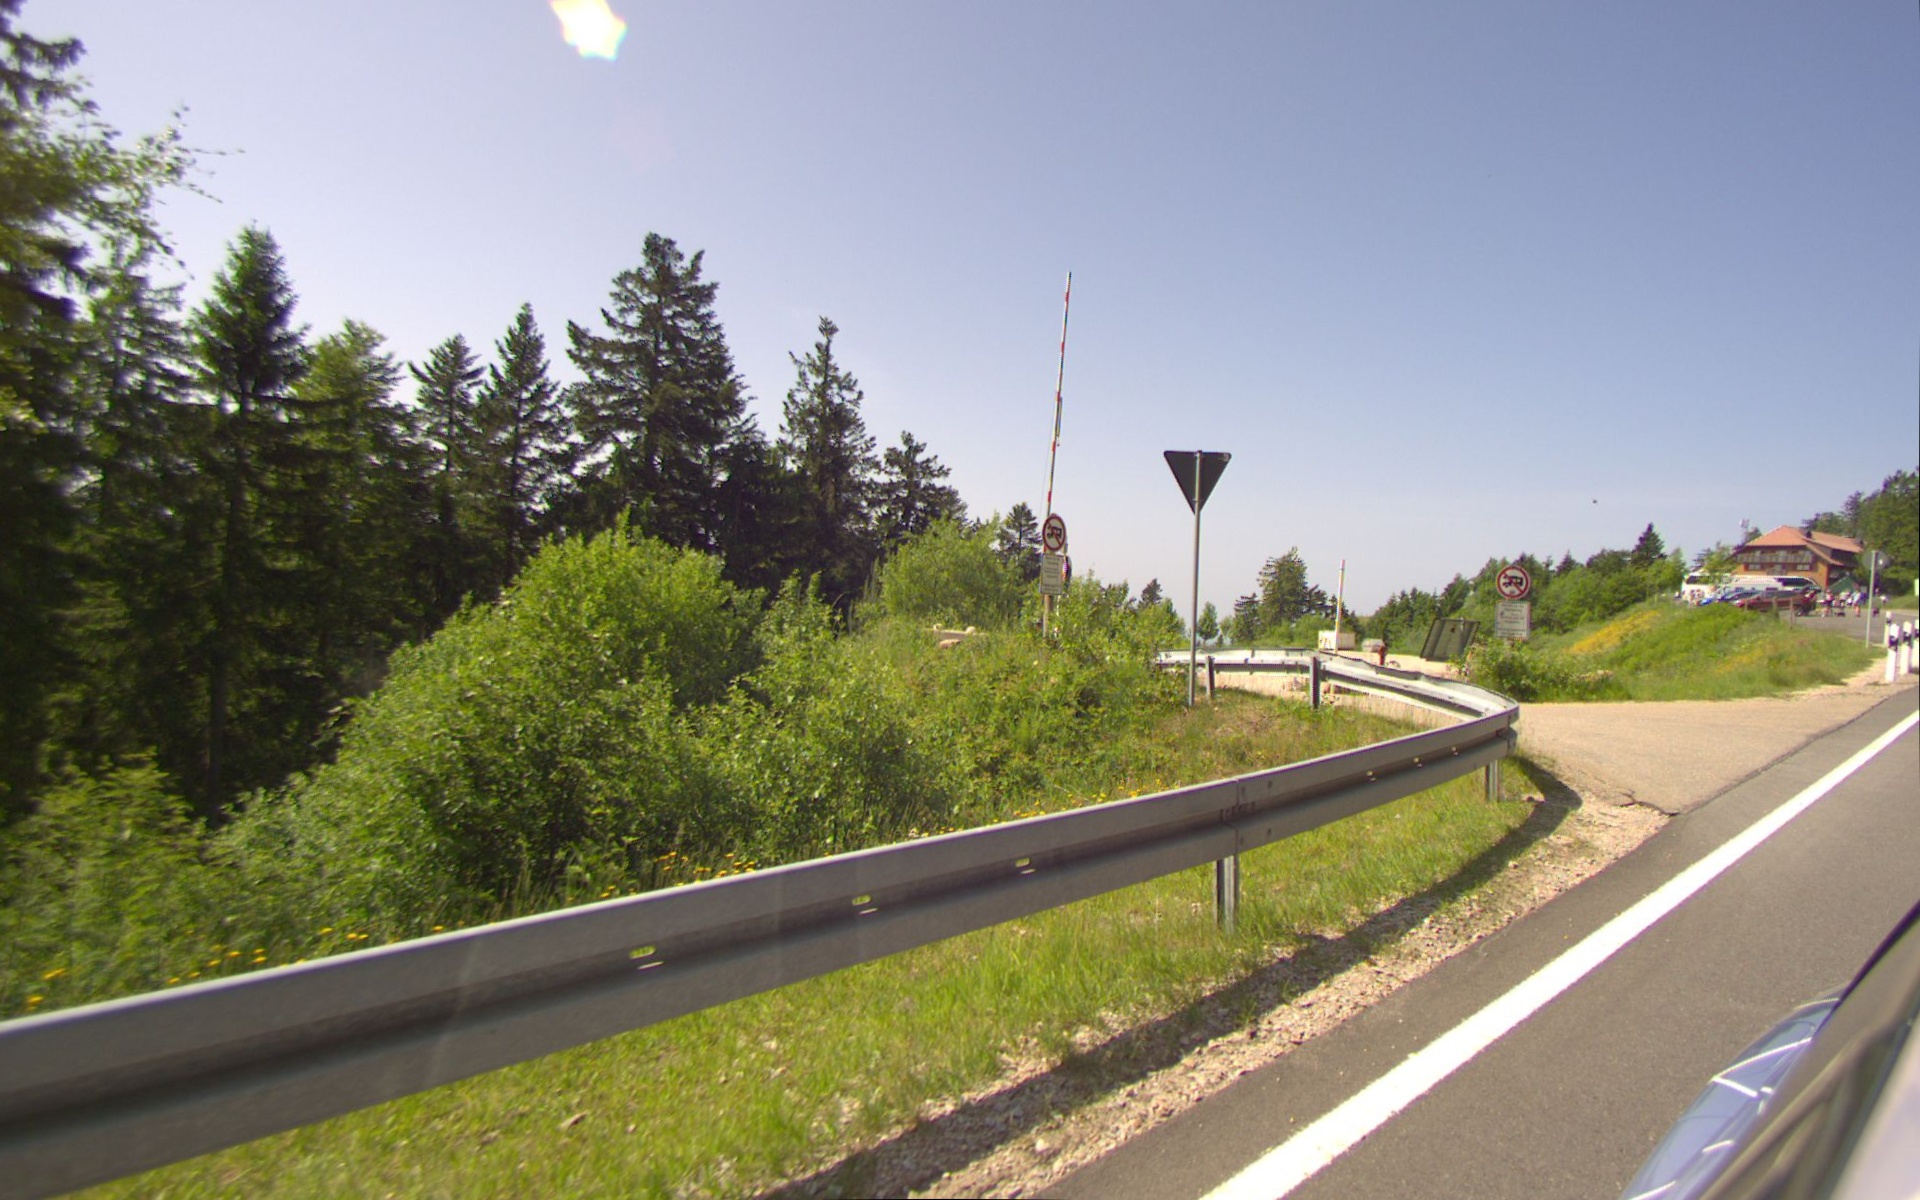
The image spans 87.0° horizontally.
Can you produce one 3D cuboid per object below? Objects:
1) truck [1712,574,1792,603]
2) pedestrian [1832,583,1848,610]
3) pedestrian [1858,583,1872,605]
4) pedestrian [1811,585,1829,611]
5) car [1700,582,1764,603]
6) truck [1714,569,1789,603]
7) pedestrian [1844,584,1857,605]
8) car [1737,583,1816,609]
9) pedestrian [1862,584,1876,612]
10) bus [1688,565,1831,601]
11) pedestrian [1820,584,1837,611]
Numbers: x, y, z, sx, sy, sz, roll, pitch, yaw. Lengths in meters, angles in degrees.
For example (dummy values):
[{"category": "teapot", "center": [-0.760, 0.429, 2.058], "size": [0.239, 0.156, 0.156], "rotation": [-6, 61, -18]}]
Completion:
[{"category": "truck", "center": [80.685, -1.201, 103.280], "size": [6.246, 2.623, 2.309], "rotation": [3, 1, 37]}, {"category": "pedestrian", "center": [56.841, -0.214, 65.387], "size": [0.716, 1.713, 0.609], "rotation": [2, 1, 44]}, {"category": "pedestrian", "center": [76.019, -0.530, 85.025], "size": [0.761, 1.782, 0.755], "rotation": [1, 1, -40]}, {"category": "pedestrian", "center": [55.943, -0.142, 65.837], "size": [0.721, 1.607, 0.619], "rotation": [3, 1, -34]}, {"category": "car", "center": [62.525, -0.611, 82.046], "size": [3.971, 1.668, 1.581], "rotation": [0, 0, 34]}, {"category": "truck", "center": [82.783, -1.481, 105.982], "size": [6.049, 3.235, 2.499], "rotation": [3, 2, 37]}, {"category": "pedestrian", "center": [75.451, -0.443, 85.762], "size": [0.878, 1.762, 0.666], "rotation": [1, 1, -40]}, {"category": "car", "center": [53.302, -0.279, 66.161], "size": [3.800, 1.681, 1.634], "rotation": [0, 0, 33]}, {"category": "pedestrian", "center": [57.773, -0.137, 64.299], "size": [0.617, 1.797, 0.712], "rotation": [2, 1, 44]}, {"category": "bus", "center": [92.460, -2.005, 117.472], "size": [12.820, 3.621, 2.800], "rotation": [3, 2, 38]}, {"category": "pedestrian", "center": [55.516, -0.181, 64.682], "size": [0.675, 1.681, 0.654], "rotation": [2, 1, -40]}]
